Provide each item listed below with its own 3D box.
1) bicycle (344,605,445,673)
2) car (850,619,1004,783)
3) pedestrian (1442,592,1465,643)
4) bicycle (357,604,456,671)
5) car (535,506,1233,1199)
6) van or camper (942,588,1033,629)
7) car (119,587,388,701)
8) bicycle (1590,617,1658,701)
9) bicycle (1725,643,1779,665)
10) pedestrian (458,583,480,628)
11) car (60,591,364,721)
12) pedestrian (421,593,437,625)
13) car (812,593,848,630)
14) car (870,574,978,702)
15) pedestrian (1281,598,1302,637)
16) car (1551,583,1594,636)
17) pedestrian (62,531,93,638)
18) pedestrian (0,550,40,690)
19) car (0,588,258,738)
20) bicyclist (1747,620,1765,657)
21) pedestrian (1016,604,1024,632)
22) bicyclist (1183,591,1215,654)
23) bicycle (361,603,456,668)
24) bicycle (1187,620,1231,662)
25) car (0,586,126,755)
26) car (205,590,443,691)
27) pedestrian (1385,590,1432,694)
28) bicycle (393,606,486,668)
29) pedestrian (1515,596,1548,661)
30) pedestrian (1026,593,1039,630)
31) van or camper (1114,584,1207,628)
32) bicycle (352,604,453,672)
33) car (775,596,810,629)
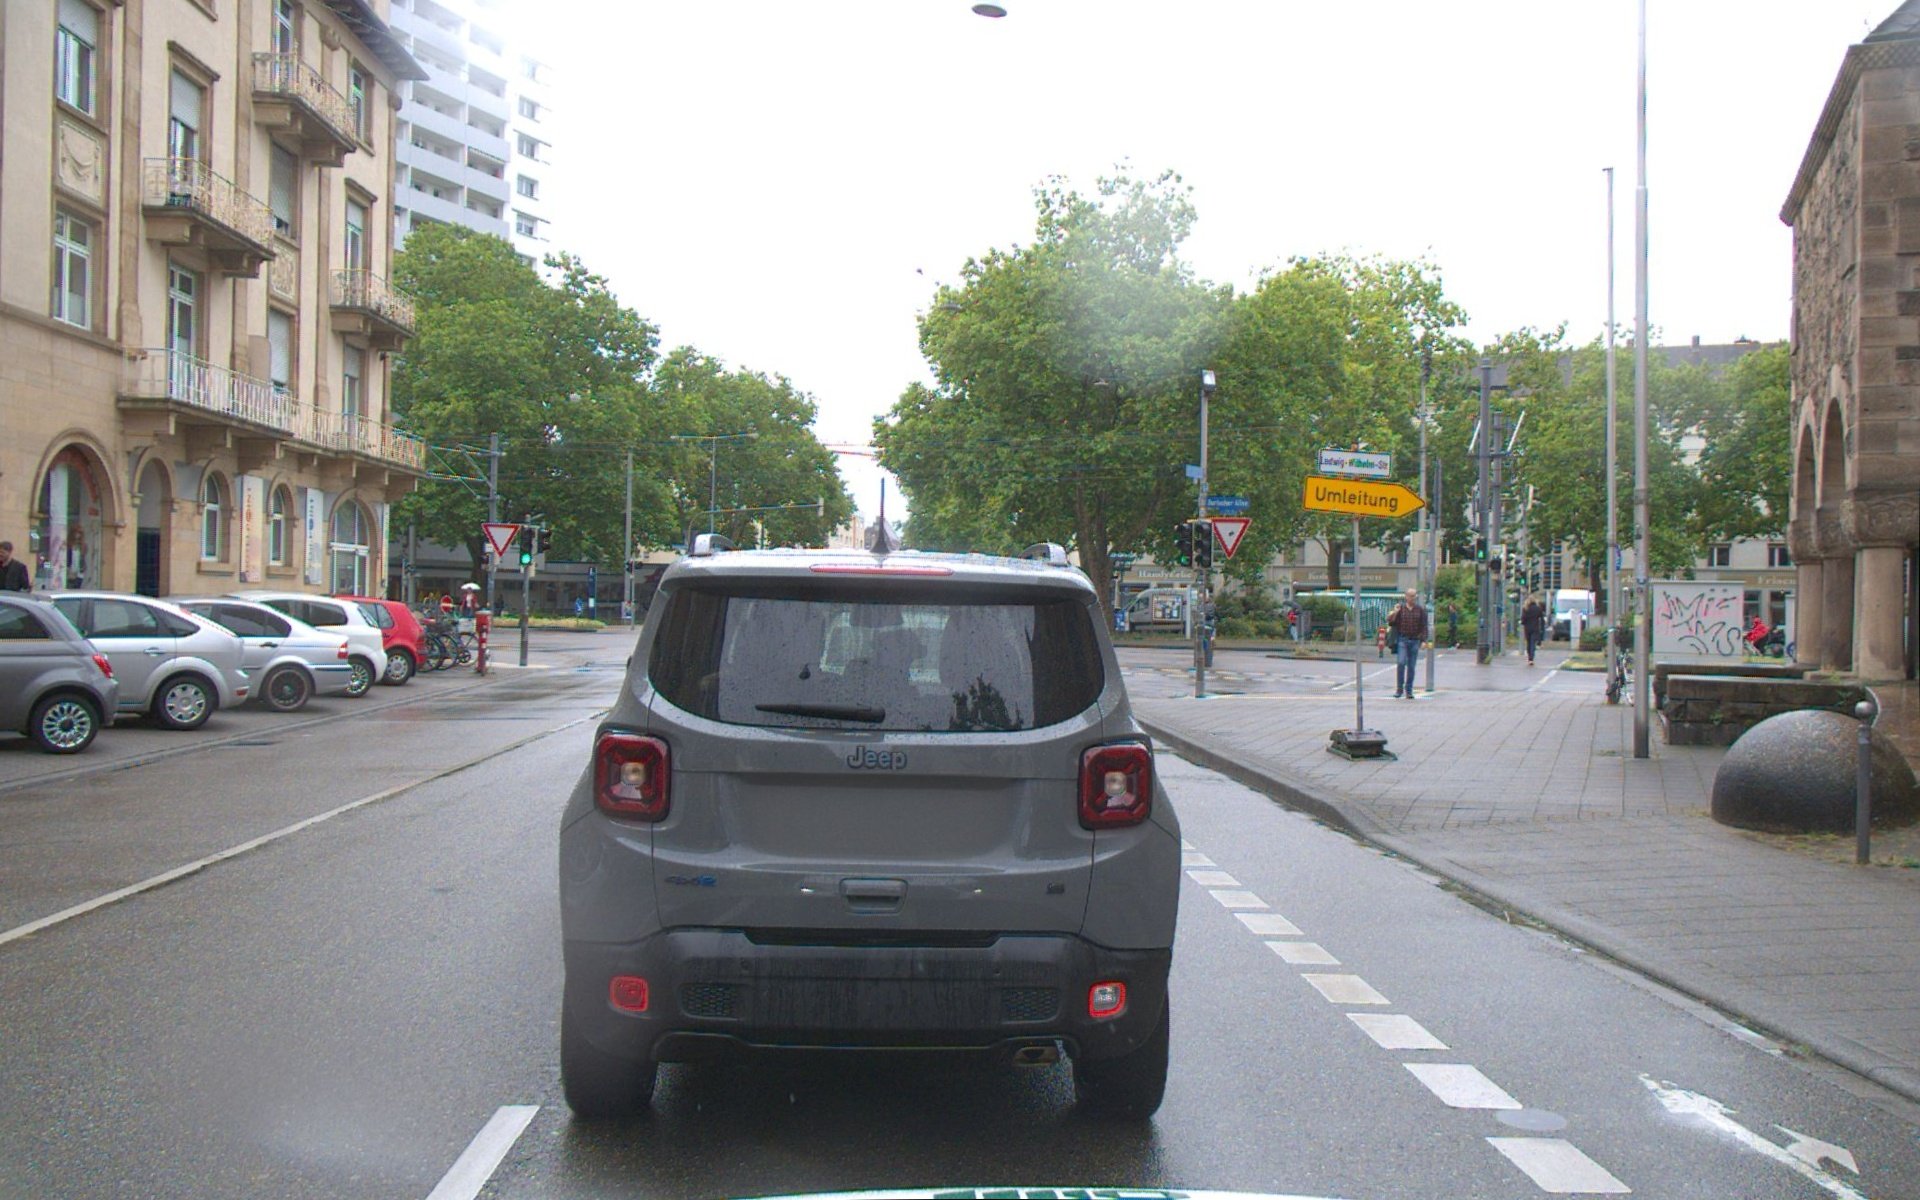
[{"bbox_3d":[-10.766,0.738,31.496,1.728,1.288,0.522,0,0,-3],"label":"bicycle"},{"bbox_3d":[-0.323,0.907,16.164,1.336,1.400,3.311,1,0,-1],"label":"car"},{"bbox_3d":[19.878,0.686,66.580,0.789,2.049,0.589,0,0,26],"label":"pedestrian"},{"bbox_3d":[-10.935,0.738,32.723,1.774,1.288,0.498,0,0,-3],"label":"bicycle"},{"bbox_3d":[-0.248,0.622,6.062,1.739,1.716,3.846,0,0,-2],"label":"car"},{"bbox_3d":[2.077,0.628,124.726,6.398,2.963,2.492,0,0,26],"label":"van or camper"},{"bbox_3d":[-10.524,0.620,24.736,3.372,1.585,1.681,1,0,-41],"label":"car"},{"bbox_3d":[9.869,0.850,24.633,0.322,1.174,2.076,0,0,4],"label":"bicycle"},{"bbox_3d":[27.912,1.902,58.333,1.662,0.731,0.653,0,0,20],"label":"bicycle"},{"bbox_3d":[-20.525,0.220,69.156,0.605,1.858,0.695,0,0,12],"label":"pedestrian"},{"bbox_3d":[-9.921,0.697,22.030,3.372,1.585,1.681,1,0,-41],"label":"car"},{"bbox_3d":[-25.614,0.427,79.790,0.433,1.556,0.643,0,0,24],"label":"pedestrian"},{"bbox_3d":[-6.385,0.539,81.095,1.688,1.769,3.726,1,0,-5],"label":"car"},{"bbox_3d":[-0.625,0.612,28.729,1.734,2.049,3.999,1,0,-1],"label":"car"},{"bbox_3d":[13.892,0.739,69.235,0.660,1.581,0.761,0,-2,27],"label":"pedestrian"},{"bbox_3d":[31.172,0.468,84.064,1.868,2.600,4.786,0,0,22],"label":"car"},{"bbox_3d":[-15.404,-0.267,28.867,0.359,1.854,0.347,0,-1,-4],"label":"pedestrian"},{"bbox_3d":[-14.078,0.293,24.452,0.556,2.049,0.654,1,0,-1],"label":"pedestrian"},{"bbox_3d":[-9.972,0.669,18.763,3.372,1.585,1.681,1,0,-41],"label":"car"},{"bbox_3d":[28.036,1.360,58.268,0.511,1.272,0.653,0,0,20],"label":"bicyclist"},{"bbox_3d":[3.735,1.126,102.543,0.448,1.733,0.424,1,0,-1],"label":"pedestrian"},{"bbox_3d":[6.242,0.583,43.235,0.672,1.646,0.884,0,0,19],"label":"bicyclist"},{"bbox_3d":[-11.242,0.721,33.745,1.728,1.288,0.608,0,0,-3],"label":"bicycle"},{"bbox_3d":[6.533,1.053,43.320,0.677,1.039,2.659,0,0,19],"label":"bicycle"},{"bbox_3d":[-9.975,0.649,15.734,3.372,1.585,1.628,1,0,-41],"label":"car"},{"bbox_3d":[-10.636,0.648,27.747,3.372,1.585,1.681,1,0,-41],"label":"car"},{"bbox_3d":[7.816,0.719,28.842,0.769,1.790,0.946,0,0,14],"label":"pedestrian"},{"bbox_3d":[-10.888,0.770,34.632,1.728,1.288,0.608,0,0,-3],"label":"bicycle"},{"bbox_3d":[14.929,0.737,43.188,0.767,1.674,0.655,0,0,23],"label":"pedestrian"},{"bbox_3d":[4.058,0.665,92.373,0.637,2.049,0.483,1,0,11],"label":"pedestrian"},{"bbox_3d":[11.445,0.332,94.675,5.149,2.356,2.090,1,0,2],"label":"van or camper"},{"bbox_3d":[-10.794,0.730,32.043,1.774,1.288,0.498,0,0,-3],"label":"bicycle"},{"bbox_3d":[-8.803,0.632,87.223,1.779,1.700,3.916,1,0,-5],"label":"car"}]
